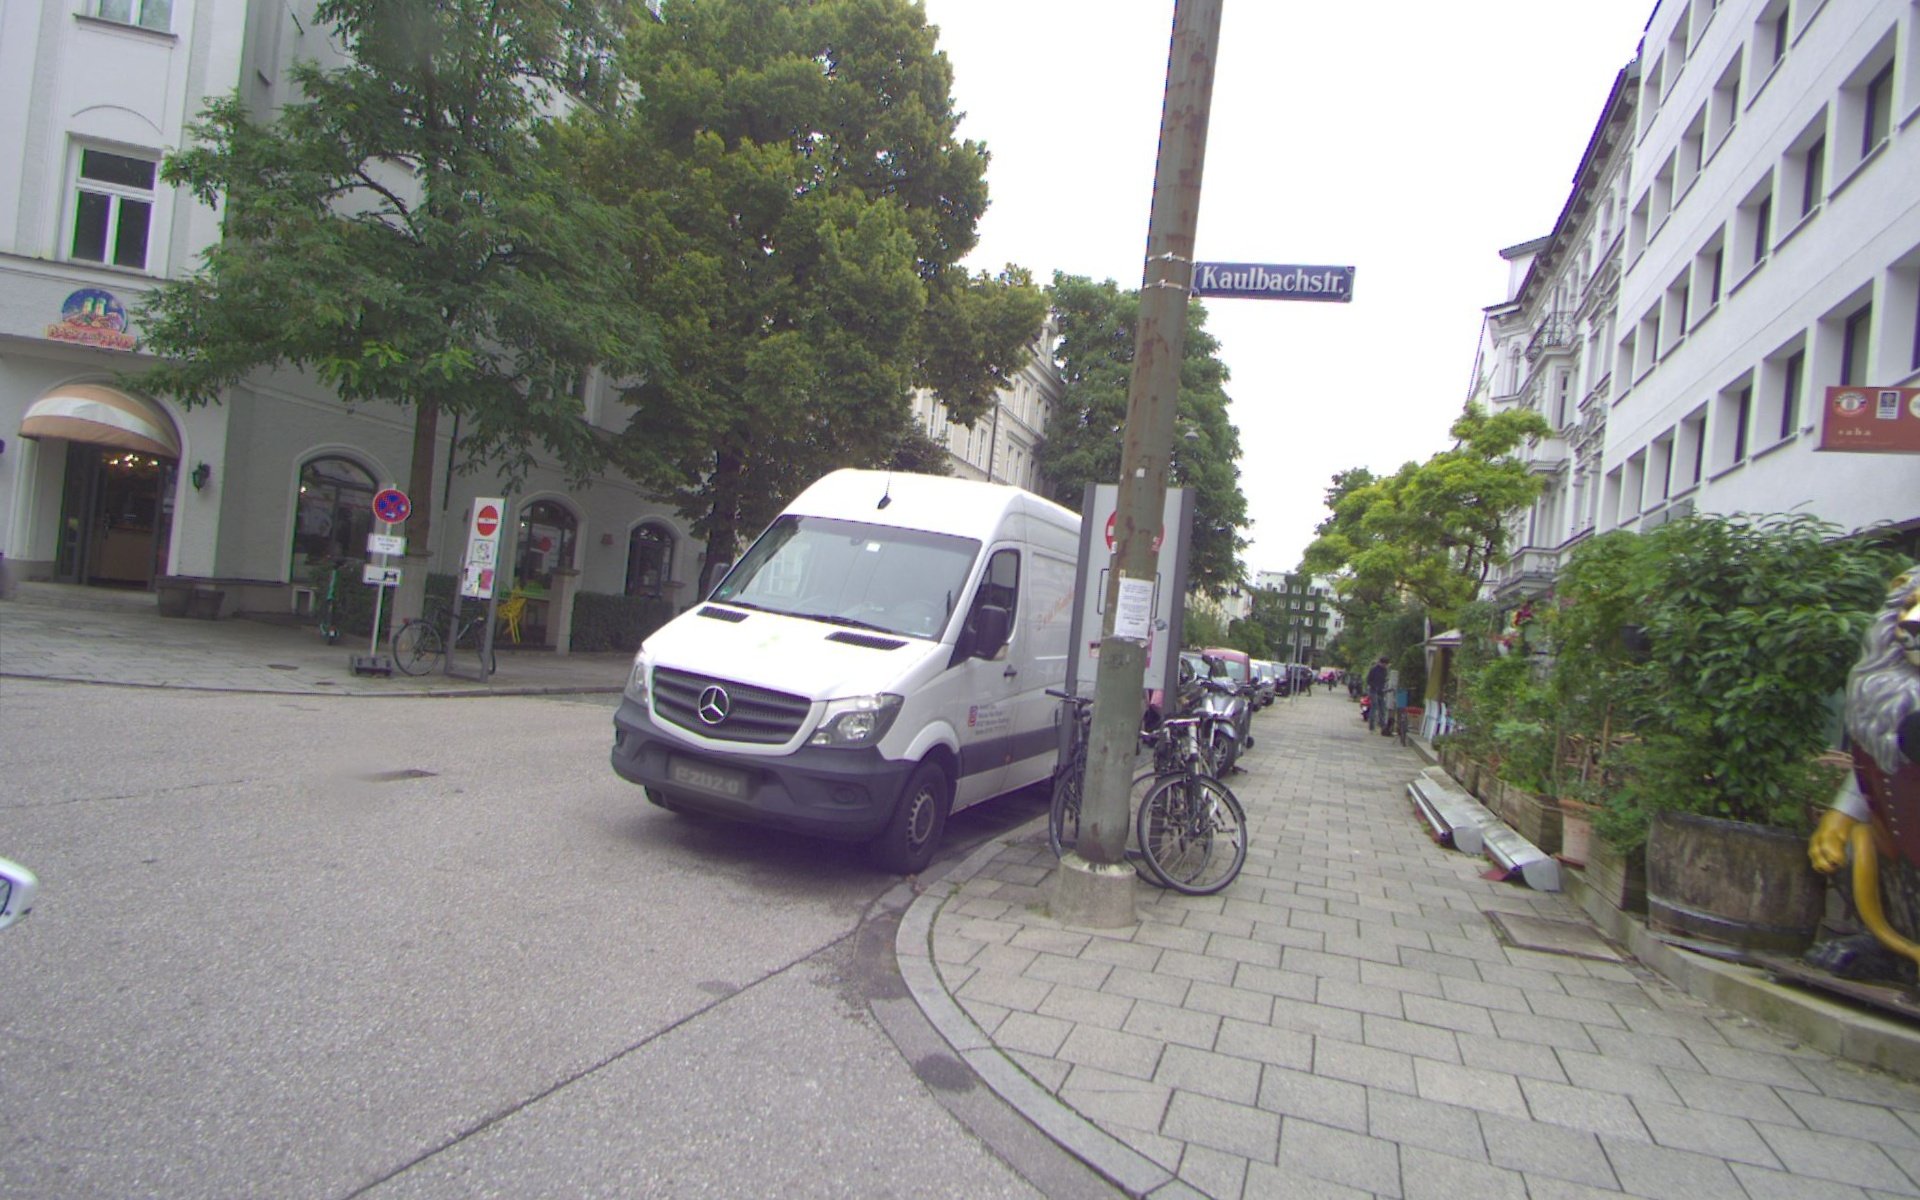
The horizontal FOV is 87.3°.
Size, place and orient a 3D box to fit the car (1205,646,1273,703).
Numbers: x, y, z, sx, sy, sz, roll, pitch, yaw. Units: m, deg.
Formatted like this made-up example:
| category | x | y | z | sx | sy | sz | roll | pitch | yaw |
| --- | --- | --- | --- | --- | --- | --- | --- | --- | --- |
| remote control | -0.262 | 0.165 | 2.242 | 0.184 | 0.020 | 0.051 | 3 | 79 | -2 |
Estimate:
| category | x | y | z | sx | sy | sz | roll | pitch | yaw |
| --- | --- | --- | --- | --- | --- | --- | --- | --- | --- |
| car | 9.487 | 2.490 | 34.042 | 1.831 | 1.611 | 4.001 | 6 | -1 | 19 |

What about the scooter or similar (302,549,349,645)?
| category | x | y | z | sx | sy | sz | roll | pitch | yaw |
| --- | --- | --- | --- | --- | --- | --- | --- | --- | --- |
| scooter or similar | -9.430 | -0.064 | 14.928 | 0.425 | 1.295 | 1.267 | 7 | 1 | -34 |

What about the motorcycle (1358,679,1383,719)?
| category | x | y | z | sx | sy | sz | roll | pitch | yaw |
| --- | --- | --- | --- | --- | --- | --- | --- | --- | --- |
| motorcycle | 12.374 | 2.979 | 30.317 | 0.464 | 1.141 | 1.413 | 6 | -1 | 28 |

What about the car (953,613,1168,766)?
| category | x | y | z | sx | sy | sz | roll | pitch | yaw |
| --- | --- | --- | --- | --- | --- | --- | --- | --- | --- |
| car | 1.501 | 1.113 | 13.328 | 1.762 | 1.465 | 4.001 | 8 | 0 | 20 |

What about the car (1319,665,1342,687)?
| category | x | y | z | sx | sy | sz | roll | pitch | yaw |
| --- | --- | --- | --- | --- | --- | --- | --- | --- | --- |
| car | 38.341 | 7.836 | 104.224 | 1.963 | 2.037 | 4.513 | 6 | -1 | 20 |

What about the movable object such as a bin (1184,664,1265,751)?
| category | x | y | z | sx | sy | sz | roll | pitch | yaw |
| --- | --- | --- | --- | --- | --- | --- | --- | --- | --- |
| movable object such as a bin | 3.967 | 1.585 | 15.033 | 0.990 | 1.124 | 1.098 | 6 | -1 | 19 |

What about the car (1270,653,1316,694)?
| category | x | y | z | sx | sy | sz | roll | pitch | yaw |
| --- | --- | --- | --- | --- | --- | --- | --- | --- | --- |
| car | 17.569 | 3.877 | 53.018 | 1.963 | 1.837 | 4.001 | 6 | -1 | 21 |

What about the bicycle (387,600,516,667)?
| category | x | y | z | sx | sy | sz | roll | pitch | yaw |
| --- | --- | --- | --- | --- | --- | --- | --- | --- | --- |
| bicycle | -6.783 | 0.458 | 13.464 | 0.536 | 0.793 | 1.412 | 6 | 0 | 39 |

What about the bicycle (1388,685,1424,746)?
| category | x | y | z | sx | sy | sz | roll | pitch | yaw |
| --- | --- | --- | --- | --- | --- | --- | --- | --- | --- |
| bicycle | 9.022 | 2.319 | 20.345 | 0.464 | 1.141 | 1.413 | 6 | -1 | 28 |

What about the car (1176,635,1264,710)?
| category | x | y | z | sx | sy | sz | roll | pitch | yaw |
| --- | --- | --- | --- | --- | --- | --- | --- | --- | --- |
| car | 7.383 | 2.010 | 28.285 | 1.898 | 1.763 | 4.001 | 6 | -1 | 19 |

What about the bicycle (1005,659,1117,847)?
| category | x | y | z | sx | sy | sz | roll | pitch | yaw |
| --- | --- | --- | --- | --- | --- | --- | --- | --- | --- |
| bicycle | 0.717 | 0.956 | 6.769 | 0.363 | 1.084 | 1.508 | 6 | -1 | 16 |

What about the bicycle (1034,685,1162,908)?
| category | x | y | z | sx | sy | sz | roll | pitch | yaw |
| --- | --- | --- | --- | --- | --- | --- | --- | --- | --- |
| bicycle | 0.849 | 1.099 | 5.965 | 0.333 | 1.141 | 1.181 | 6 | -1 | 23 |

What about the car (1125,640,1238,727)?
| category | x | y | z | sx | sy | sz | roll | pitch | yaw |
| --- | --- | --- | --- | --- | --- | --- | --- | --- | --- |
| car | 5.195 | 1.882 | 23.202 | 1.831 | 1.626 | 4.000 | 6 | -1 | 21 |

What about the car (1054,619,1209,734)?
| category | x | y | z | sx | sy | sz | roll | pitch | yaw |
| --- | --- | --- | --- | --- | --- | --- | --- | --- | --- |
| car | 3.236 | 1.356 | 18.230 | 1.778 | 1.587 | 4.253 | 8 | -1 | 22 |

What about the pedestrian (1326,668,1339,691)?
| category | x | y | z | sx | sy | sz | roll | pitch | yaw |
| --- | --- | --- | --- | --- | --- | --- | --- | --- | --- |
| pedestrian | 26.207 | 5.559 | 70.752 | 0.644 | 1.533 | 0.775 | 6 | 0 | 24 |

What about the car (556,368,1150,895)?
| category | x | y | z | sx | sy | sz | roll | pitch | yaw |
| --- | --- | --- | --- | --- | --- | --- | --- | --- | --- |
| car | -0.180 | 0.261 | 8.218 | 2.022 | 2.622 | 5.913 | 7 | -1 | 22 |

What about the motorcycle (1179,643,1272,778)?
| category | x | y | z | sx | sy | sz | roll | pitch | yaw |
| --- | --- | --- | --- | --- | --- | --- | --- | --- | --- |
| motorcycle | 3.232 | 1.281 | 12.091 | 0.646 | 1.401 | 2.178 | 6 | -1 | 23 |

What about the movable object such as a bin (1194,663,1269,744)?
| category | x | y | z | sx | sy | sz | roll | pitch | yaw |
| --- | --- | --- | --- | --- | --- | --- | --- | --- | --- |
| movable object such as a bin | 4.358 | 1.628 | 16.095 | 0.990 | 1.124 | 1.098 | 6 | -1 | 19 |

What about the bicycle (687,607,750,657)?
| category | x | y | z | sx | sy | sz | roll | pitch | yaw |
| --- | --- | --- | --- | --- | --- | --- | --- | --- | --- |
| bicycle | -5.296 | 0.716 | 22.136 | 0.423 | 0.959 | 1.461 | 9 | 0 | 25 |

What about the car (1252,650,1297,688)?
| category | x | y | z | sx | sy | sz | roll | pitch | yaw |
| --- | --- | --- | --- | --- | --- | --- | --- | --- | --- |
| car | 16.871 | 3.682 | 53.809 | 1.963 | 1.704 | 4.483 | 6 | -1 | 20 |

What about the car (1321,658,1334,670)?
| category | x | y | z | sx | sy | sz | roll | pitch | yaw |
| --- | --- | --- | --- | --- | --- | --- | --- | --- | --- |
| car | 70.877 | 12.354 | 194.045 | 1.963 | 2.038 | 4.455 | 6 | -1 | 21 |

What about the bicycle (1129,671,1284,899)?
| category | x | y | z | sx | sy | sz | roll | pitch | yaw |
| --- | --- | --- | --- | --- | --- | --- | --- | --- | --- |
| bicycle | 1.608 | 1.050 | 6.323 | 0.581 | 1.141 | 1.907 | 6 | -1 | 22 |

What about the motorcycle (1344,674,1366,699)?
| category | x | y | z | sx | sy | sz | roll | pitch | yaw |
| --- | --- | --- | --- | --- | --- | --- | --- | --- | --- |
| motorcycle | 20.435 | 4.464 | 52.033 | 0.831 | 1.182 | 2.341 | 6 | -1 | 24 |

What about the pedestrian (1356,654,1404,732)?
| category | x | y | z | sx | sy | sz | roll | pitch | yaw |
| --- | --- | --- | --- | --- | --- | --- | --- | --- | --- |
| pedestrian | 9.832 | 2.174 | 23.543 | 0.715 | 1.736 | 0.686 | 6 | 0 | 38 |

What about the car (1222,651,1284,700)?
| category | x | y | z | sx | sy | sz | roll | pitch | yaw |
| --- | --- | --- | --- | --- | --- | --- | --- | --- | --- |
| car | 11.571 | 2.951 | 39.543 | 1.899 | 1.610 | 4.168 | 6 | -1 | 20 |
